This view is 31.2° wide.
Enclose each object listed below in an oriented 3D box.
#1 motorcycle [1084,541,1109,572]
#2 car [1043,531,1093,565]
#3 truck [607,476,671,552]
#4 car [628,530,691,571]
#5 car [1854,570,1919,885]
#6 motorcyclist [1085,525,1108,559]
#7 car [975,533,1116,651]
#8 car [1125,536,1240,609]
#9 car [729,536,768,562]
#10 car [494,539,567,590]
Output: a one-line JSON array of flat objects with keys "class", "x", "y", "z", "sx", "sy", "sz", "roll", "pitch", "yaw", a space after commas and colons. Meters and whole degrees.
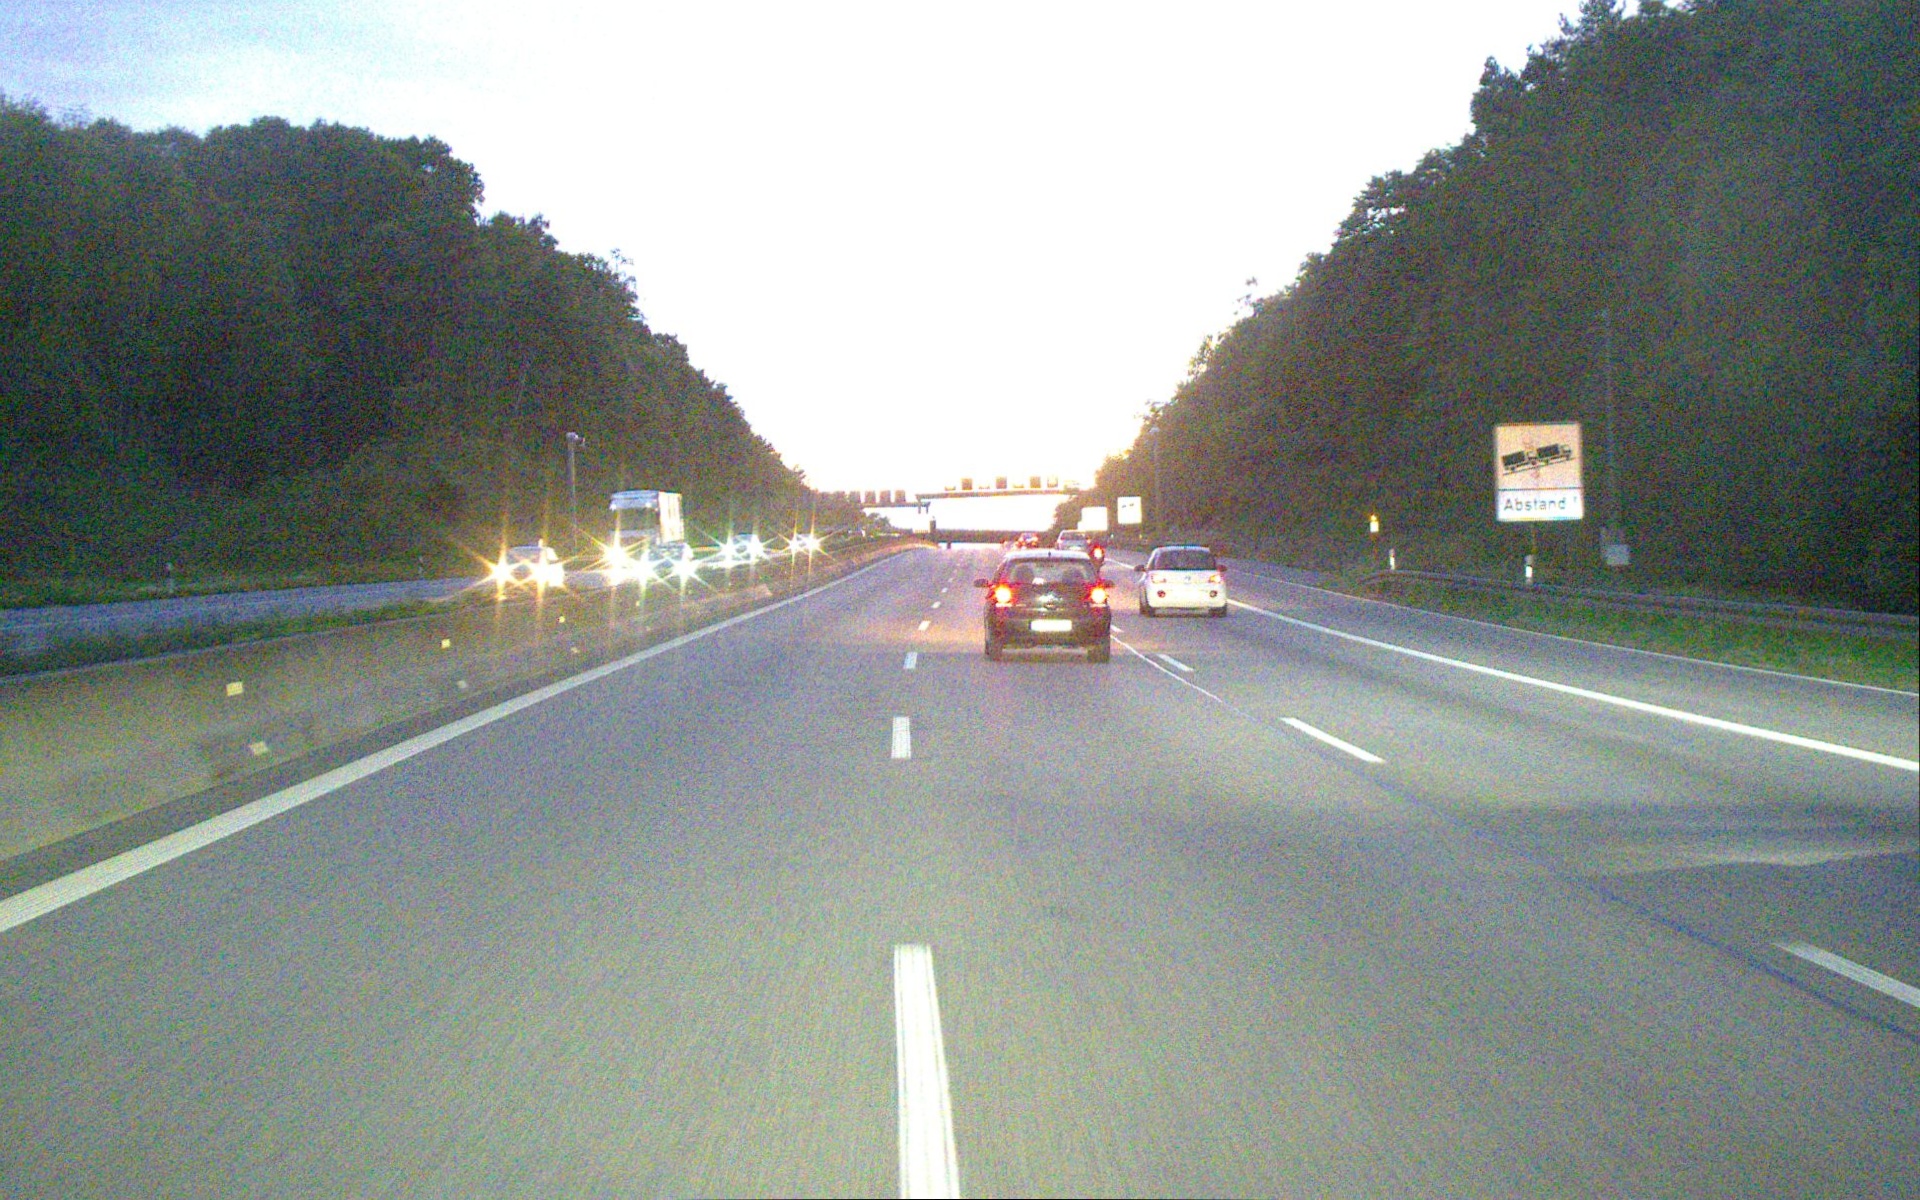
[{"class": "motorcycle", "x": 5.209, "y": -1.655, "z": 131.327, "sx": 0.829, "sy": 1.130, "sz": 2.476, "roll": -1, "pitch": 0, "yaw": 0}, {"class": "car", "x": 5.060, "y": -2.434, "z": 161.685, "sx": 1.865, "sy": 1.489, "sz": 4.399, "roll": 1, "pitch": 0, "yaw": -4}, {"class": "truck", "x": -17.162, "y": -4.600, "z": 184.377, "sx": 2.647, "sy": 3.958, "sz": 7.122, "roll": 0, "pitch": 1, "yaw": 1}, {"class": "car", "x": -10.152, "y": -1.692, "z": 116.532, "sx": 1.850, "sy": 1.377, "sz": 4.645, "roll": 0, "pitch": 1, "yaw": -2}, {"class": "car", "x": 5.379, "y": 0.614, "z": 14.389, "sx": 1.865, "sy": 1.431, "sz": 4.584, "roll": 1, "pitch": 1, "yaw": -3}, {"class": "motorcyclist", "x": 5.203, "y": -2.201, "z": 131.255, "sx": 0.829, "sy": 1.287, "sz": 1.190, "roll": -1, "pitch": 0, "yaw": 0}, {"class": "car", "x": 1.115, "y": -0.107, "z": 46.580, "sx": 1.704, "sy": 1.504, "sz": 4.232, "roll": 1, "pitch": 0, "yaw": -1}, {"class": "car", "x": 4.653, "y": -0.566, "z": 72.387, "sx": 1.825, "sy": 1.471, "sz": 4.399, "roll": 1, "pitch": 0, "yaw": -4}, {"class": "car", "x": -12.473, "y": -3.020, "z": 202.825, "sx": 1.910, "sy": 1.446, "sz": 5.354, "roll": 0, "pitch": 1, "yaw": 1}, {"class": "car", "x": -13.303, "y": -1.117, "z": 106.592, "sx": 1.686, "sy": 1.510, "sz": 4.415, "roll": 0, "pitch": 1, "yaw": 0}]
